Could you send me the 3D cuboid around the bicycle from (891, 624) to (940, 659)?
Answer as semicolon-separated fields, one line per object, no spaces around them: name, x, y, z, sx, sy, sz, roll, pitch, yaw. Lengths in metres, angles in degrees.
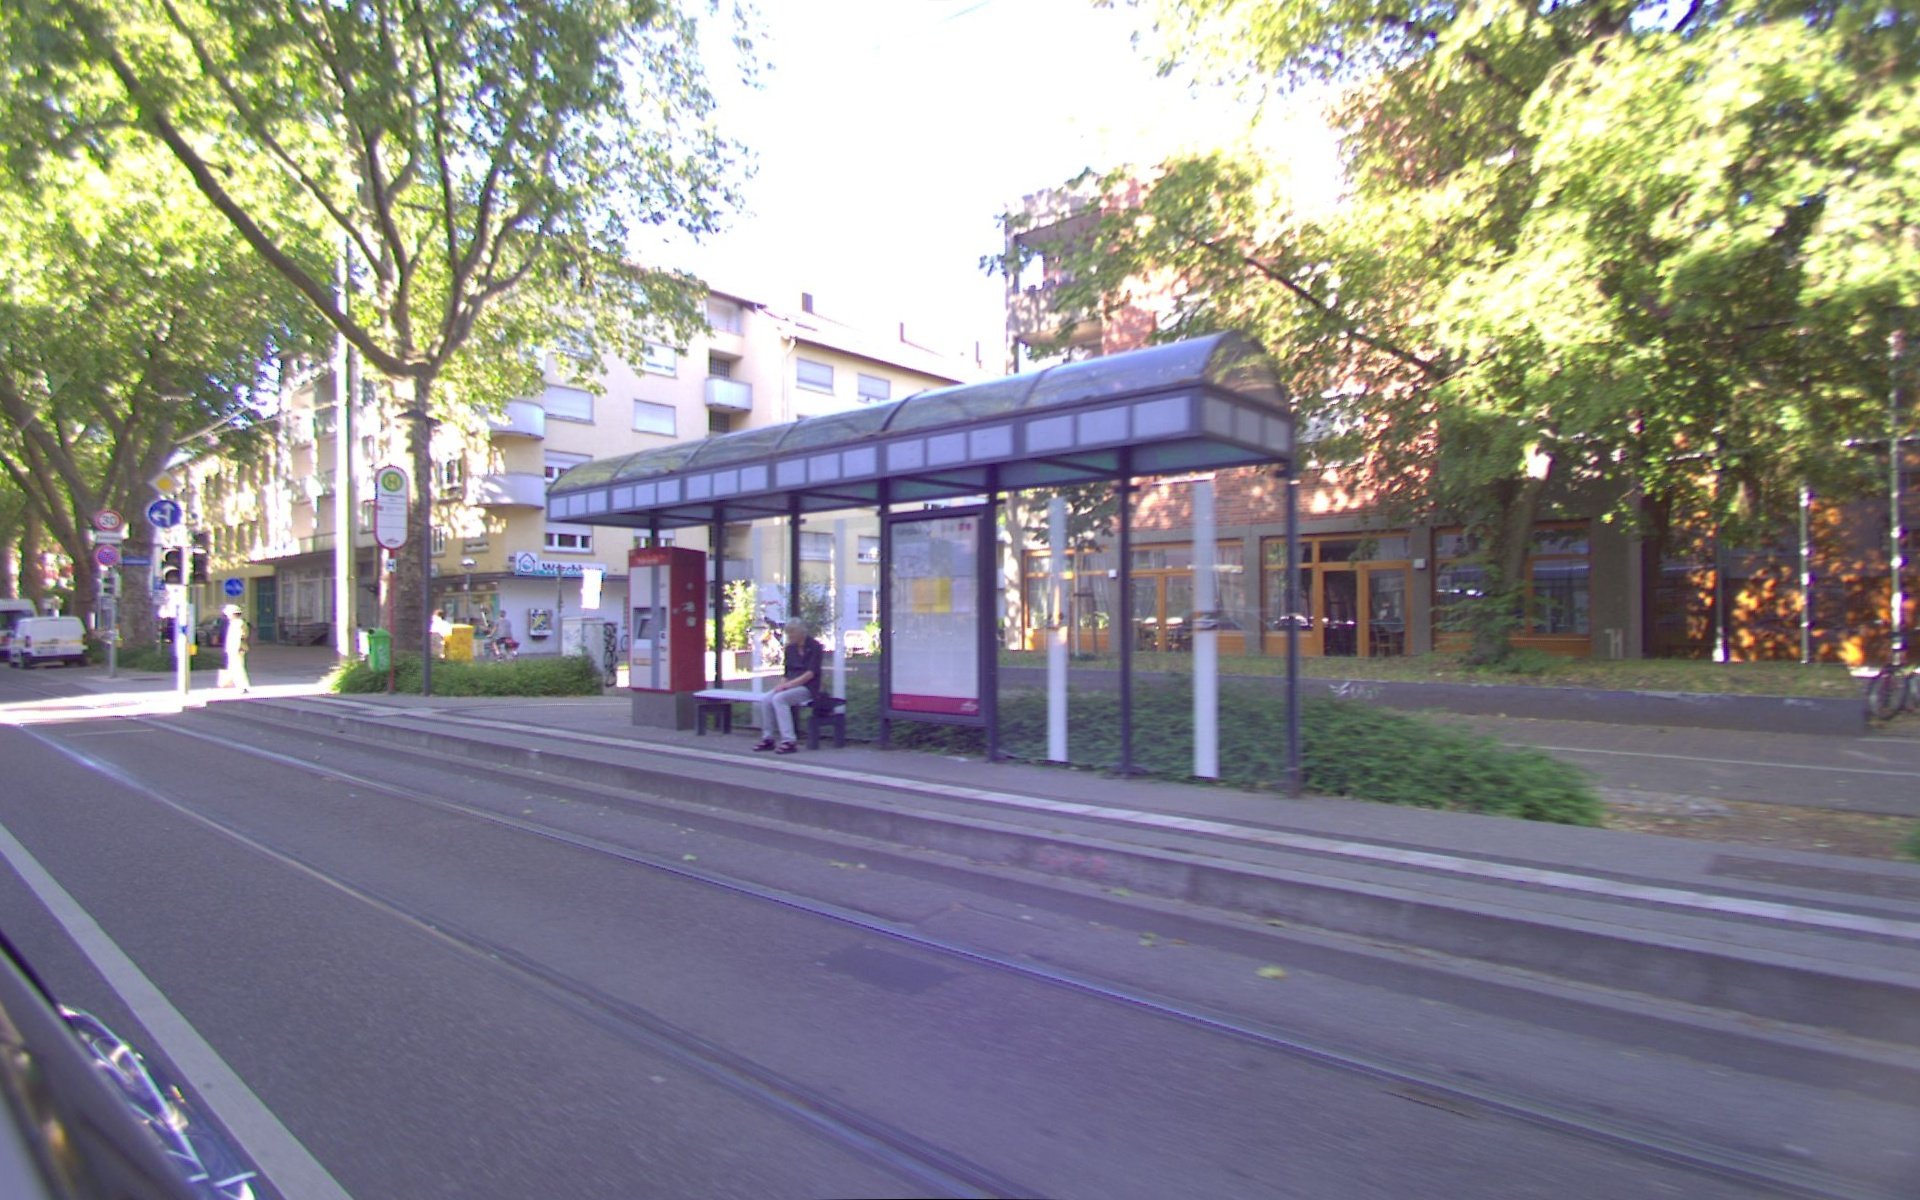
bicycle;-1.430;1.324;32.569;1.637;1.092;0.536;-1;-1;40

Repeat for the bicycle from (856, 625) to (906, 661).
bicycle;-2.461;1.333;31.585;1.637;1.092;0.536;-3;-2;40

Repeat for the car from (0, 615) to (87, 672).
car;-32.871;1.503;36.207;4.314;1.864;1.746;-1;0;39

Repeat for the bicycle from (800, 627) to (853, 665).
bicycle;-3.945;1.364;29.830;1.637;1.092;0.536;-4;-2;40

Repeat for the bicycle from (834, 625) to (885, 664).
bicycle;-3.060;1.358;30.738;1.637;1.092;0.536;-4;-3;40

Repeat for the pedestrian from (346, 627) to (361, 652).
pedestrian;-27.900;1.802;46.554;0.436;1.114;0.417;-1;-1;31

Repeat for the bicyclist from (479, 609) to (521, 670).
bicyclist;-13.589;1.152;29.883;0.996;1.763;0.767;-1;-1;39

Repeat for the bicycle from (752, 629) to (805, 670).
bicycle;-5.144;1.404;28.652;1.637;1.092;0.536;-4;-3;40

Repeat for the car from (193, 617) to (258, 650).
car;-42.069;1.883;57.928;4.896;1.746;1.972;-1;0;42

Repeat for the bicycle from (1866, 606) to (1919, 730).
bicycle;10.854;0.724;11.571;0.682;1.228;2.432;-1;1;41

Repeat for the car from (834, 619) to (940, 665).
car;-2.815;1.599;39.436;1.959;1.674;3.947;-1;-1;40

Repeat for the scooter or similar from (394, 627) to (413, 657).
scooter or similar;-22.966;1.726;41.758;0.633;1.176;0.677;0;0;-23

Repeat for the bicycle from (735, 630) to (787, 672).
bicycle;-5.542;1.418;28.176;1.535;1.092;0.536;-5;-3;40

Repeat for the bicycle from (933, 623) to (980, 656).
bicycle;-0.118;1.317;34.139;1.637;1.092;0.536;-1;-1;40

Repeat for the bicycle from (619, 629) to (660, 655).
bicycle;-13.900;1.812;43.891;0.543;1.092;1.616;-3;-2;42

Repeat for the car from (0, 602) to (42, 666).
car;-41.093;1.415;43.369;6.024;2.597;2.085;-1;0;43

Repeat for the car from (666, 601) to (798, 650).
car;-7.607;0.804;33.990;1.998;1.519;3.947;-1;0;40

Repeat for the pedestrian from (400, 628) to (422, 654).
pedestrian;-22.656;1.678;41.750;0.710;1.055;0.572;-1;-1;40

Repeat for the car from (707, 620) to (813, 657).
car;-8.232;1.568;41.915;1.998;1.386;3.947;-1;0;40

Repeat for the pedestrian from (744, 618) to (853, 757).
pedestrian;-1.446;0.760;9.113;0.658;1.177;0.698;-1;-2;38

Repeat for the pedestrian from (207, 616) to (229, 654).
pedestrian;-37.650;1.772;51.352;0.863;1.883;0.737;-1;-1;39

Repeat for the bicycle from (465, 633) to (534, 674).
bicycle;-13.626;1.567;29.913;2.593;1.119;0.775;-1;0;39

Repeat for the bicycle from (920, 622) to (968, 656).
bicycle;-0.547;1.284;33.561;1.637;1.092;0.536;-1;-1;40

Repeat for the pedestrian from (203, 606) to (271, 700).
pedestrian;-14.787;1.062;20.702;0.919;1.849;0.915;-1;-1;37

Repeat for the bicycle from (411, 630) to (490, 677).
bicycle;-13.009;1.341;25.805;2.593;1.119;0.775;-1;0;39

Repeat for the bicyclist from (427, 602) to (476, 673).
bicyclist;-12.962;0.930;25.791;0.996;1.763;0.767;-1;-1;39
